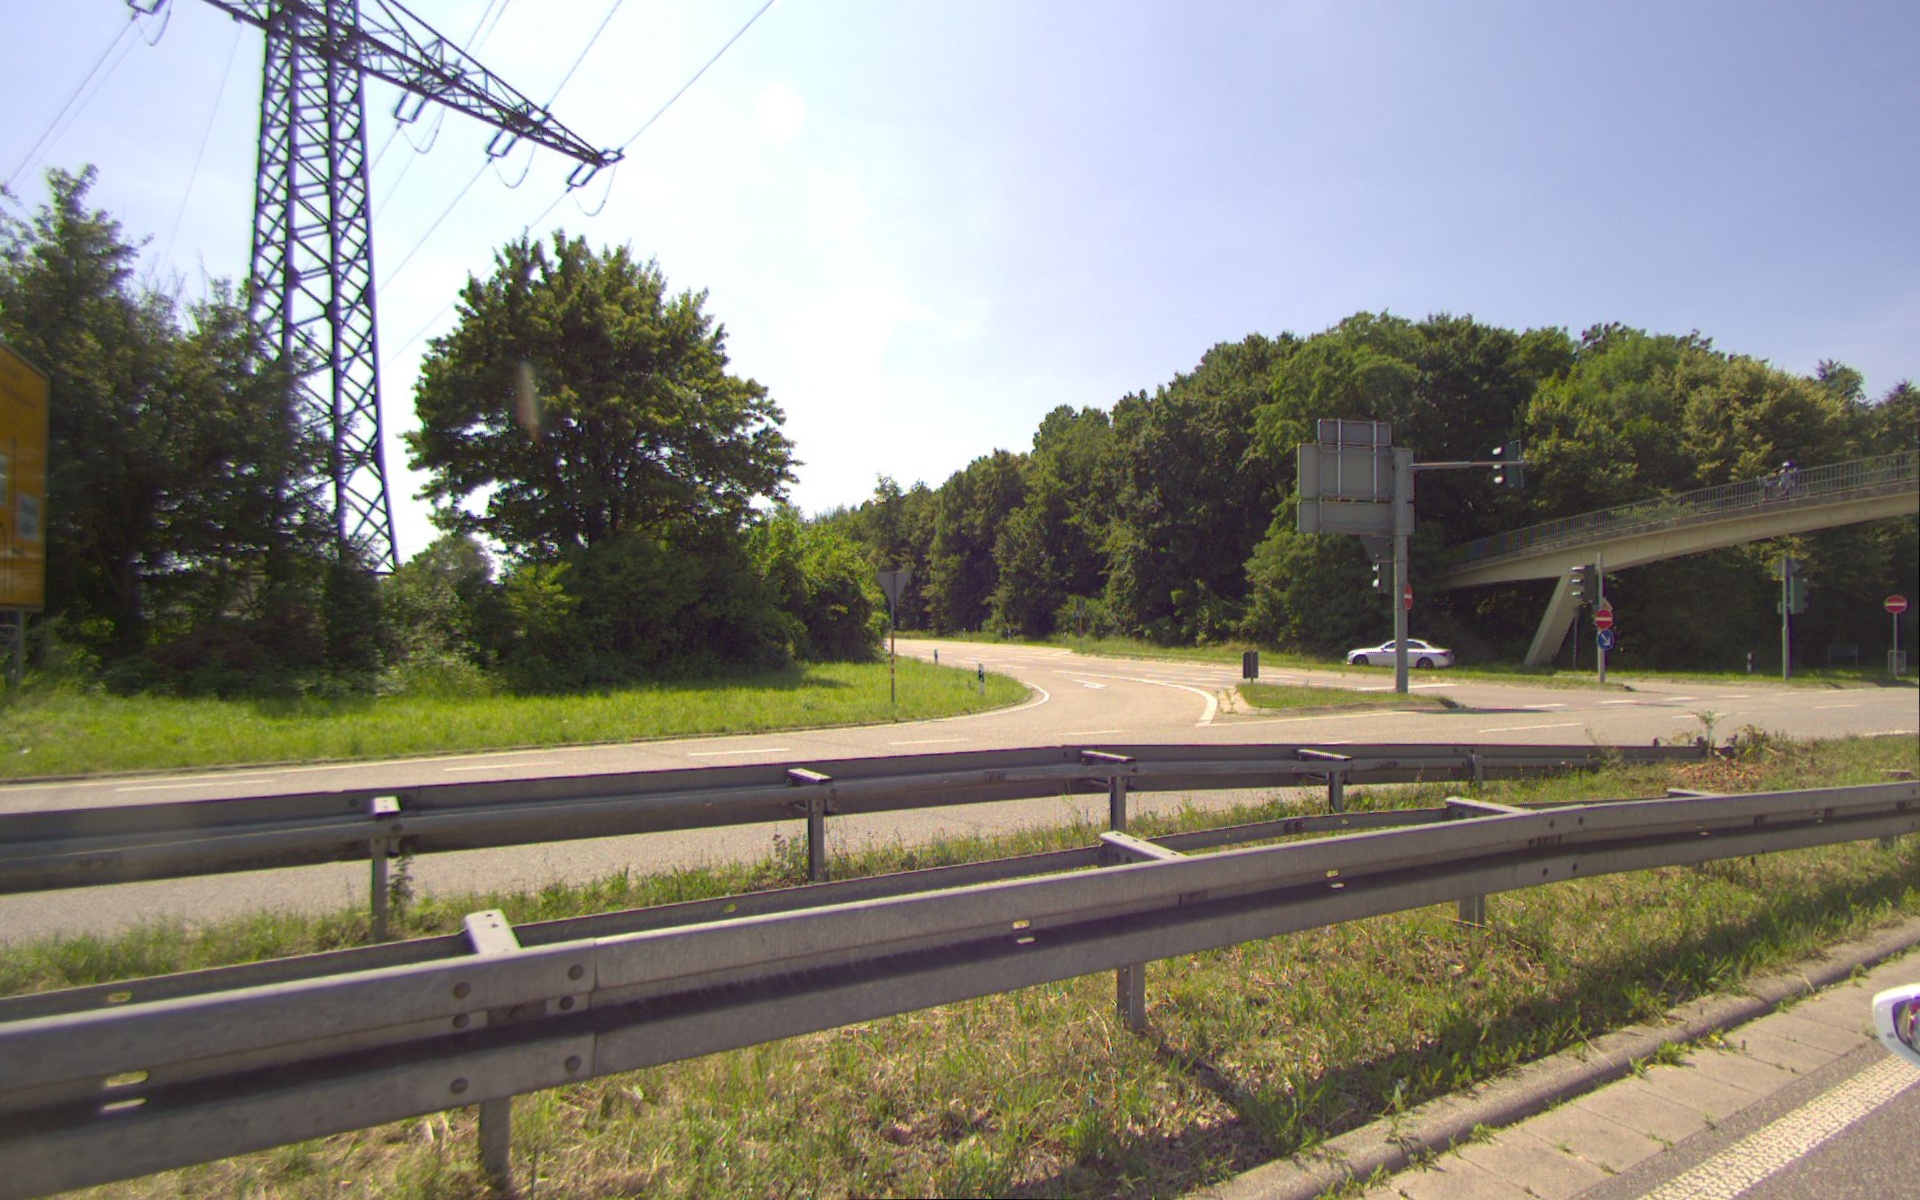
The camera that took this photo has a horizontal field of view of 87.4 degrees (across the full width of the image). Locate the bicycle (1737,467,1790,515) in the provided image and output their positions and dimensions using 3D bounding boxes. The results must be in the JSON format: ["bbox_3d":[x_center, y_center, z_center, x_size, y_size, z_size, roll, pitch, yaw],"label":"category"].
[{"bbox_3d":[29.355,-3.969,36.699,0.462,1.493,1.528,2,-3,-14],"label":"bicycle"}]

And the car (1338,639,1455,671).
[{"bbox_3d":[20.331,2.544,46.836,4.705,1.391,1.993,-1,-2,36],"label":"car"}]

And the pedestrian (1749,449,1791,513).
[{"bbox_3d":[29.610,-4.325,36.728,0.916,2.167,0.783,2,-3,-14],"label":"pedestrian"}]
